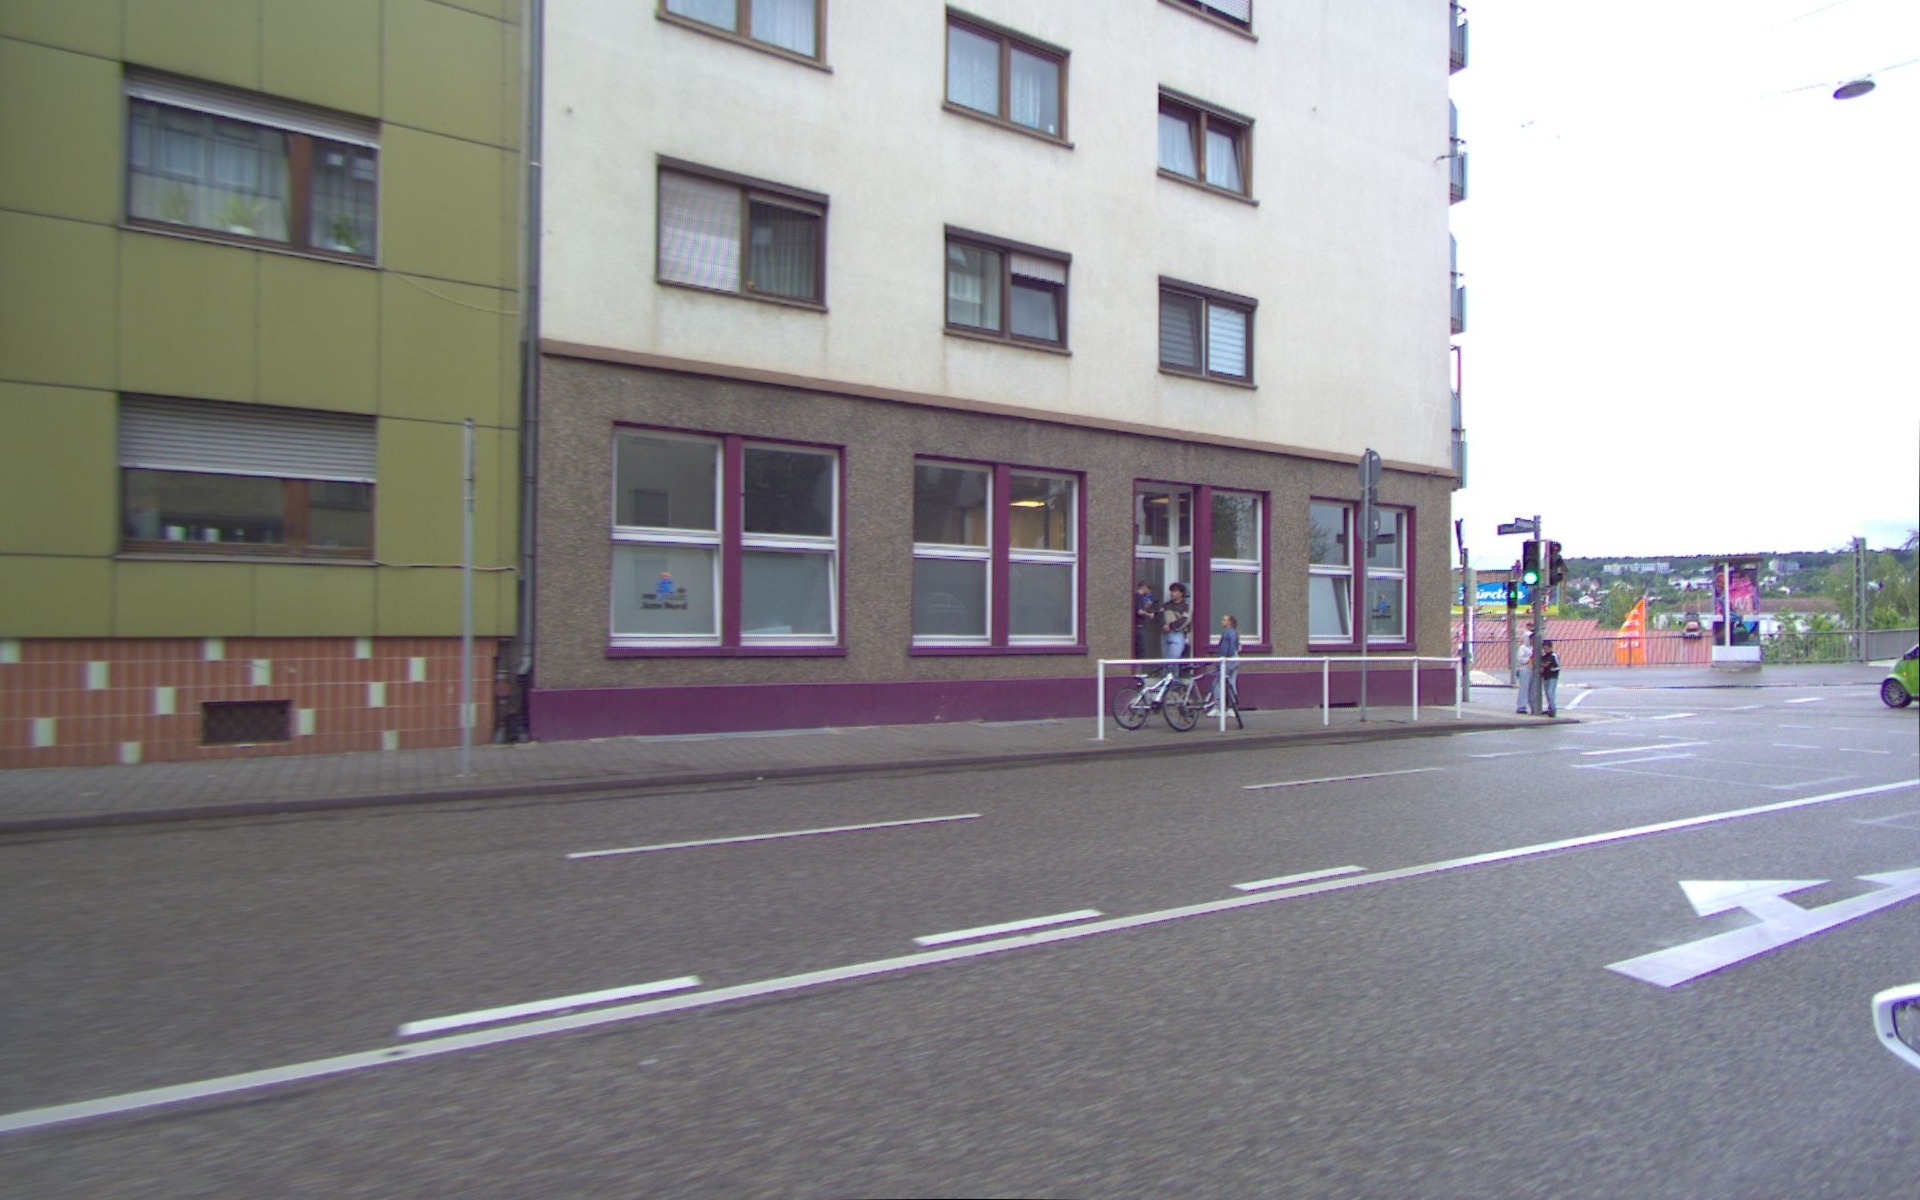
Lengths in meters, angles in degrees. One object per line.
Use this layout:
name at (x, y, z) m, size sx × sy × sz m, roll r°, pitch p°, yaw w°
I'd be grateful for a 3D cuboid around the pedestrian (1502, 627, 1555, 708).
pedestrian at (10.672, 1.249, 18.870) m, size 0.653 × 1.477 × 0.639 m, roll 2°, pitch -2°, yaw -32°

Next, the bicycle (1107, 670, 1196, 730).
bicycle at (2.707, 1.394, 14.117) m, size 1.405 × 0.793 × 0.263 m, roll 2°, pitch -2°, yaw -31°

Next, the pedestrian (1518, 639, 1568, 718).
pedestrian at (10.601, 1.412, 18.268) m, size 0.641 × 1.406 × 0.542 m, roll 2°, pitch -2°, yaw -29°

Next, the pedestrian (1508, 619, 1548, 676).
pedestrian at (18.233, 1.522, 32.265) m, size 1.052 × 1.780 × 1.062 m, roll 0°, pitch -2°, yaw 25°

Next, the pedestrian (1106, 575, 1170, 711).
pedestrian at (2.875, 0.695, 16.217) m, size 0.722 × 2.127 × 0.707 m, roll 2°, pitch -2°, yaw -33°

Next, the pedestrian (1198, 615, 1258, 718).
pedestrian at (4.218, 1.039, 15.813) m, size 0.732 × 1.574 × 0.571 m, roll 2°, pitch -2°, yaw -33°

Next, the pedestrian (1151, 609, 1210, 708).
pedestrian at (3.658, 0.961, 16.664) m, size 0.582 × 1.598 × 0.770 m, roll 2°, pitch -2°, yaw -30°

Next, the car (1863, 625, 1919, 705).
car at (19.479, 1.282, 19.559) m, size 1.500 × 1.567 × 2.667 m, roll 1°, pitch -2°, yaw 4°

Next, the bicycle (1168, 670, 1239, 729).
bicycle at (3.449, 1.398, 14.189) m, size 1.098 × 0.793 × 0.263 m, roll 2°, pitch -2°, yaw -31°
